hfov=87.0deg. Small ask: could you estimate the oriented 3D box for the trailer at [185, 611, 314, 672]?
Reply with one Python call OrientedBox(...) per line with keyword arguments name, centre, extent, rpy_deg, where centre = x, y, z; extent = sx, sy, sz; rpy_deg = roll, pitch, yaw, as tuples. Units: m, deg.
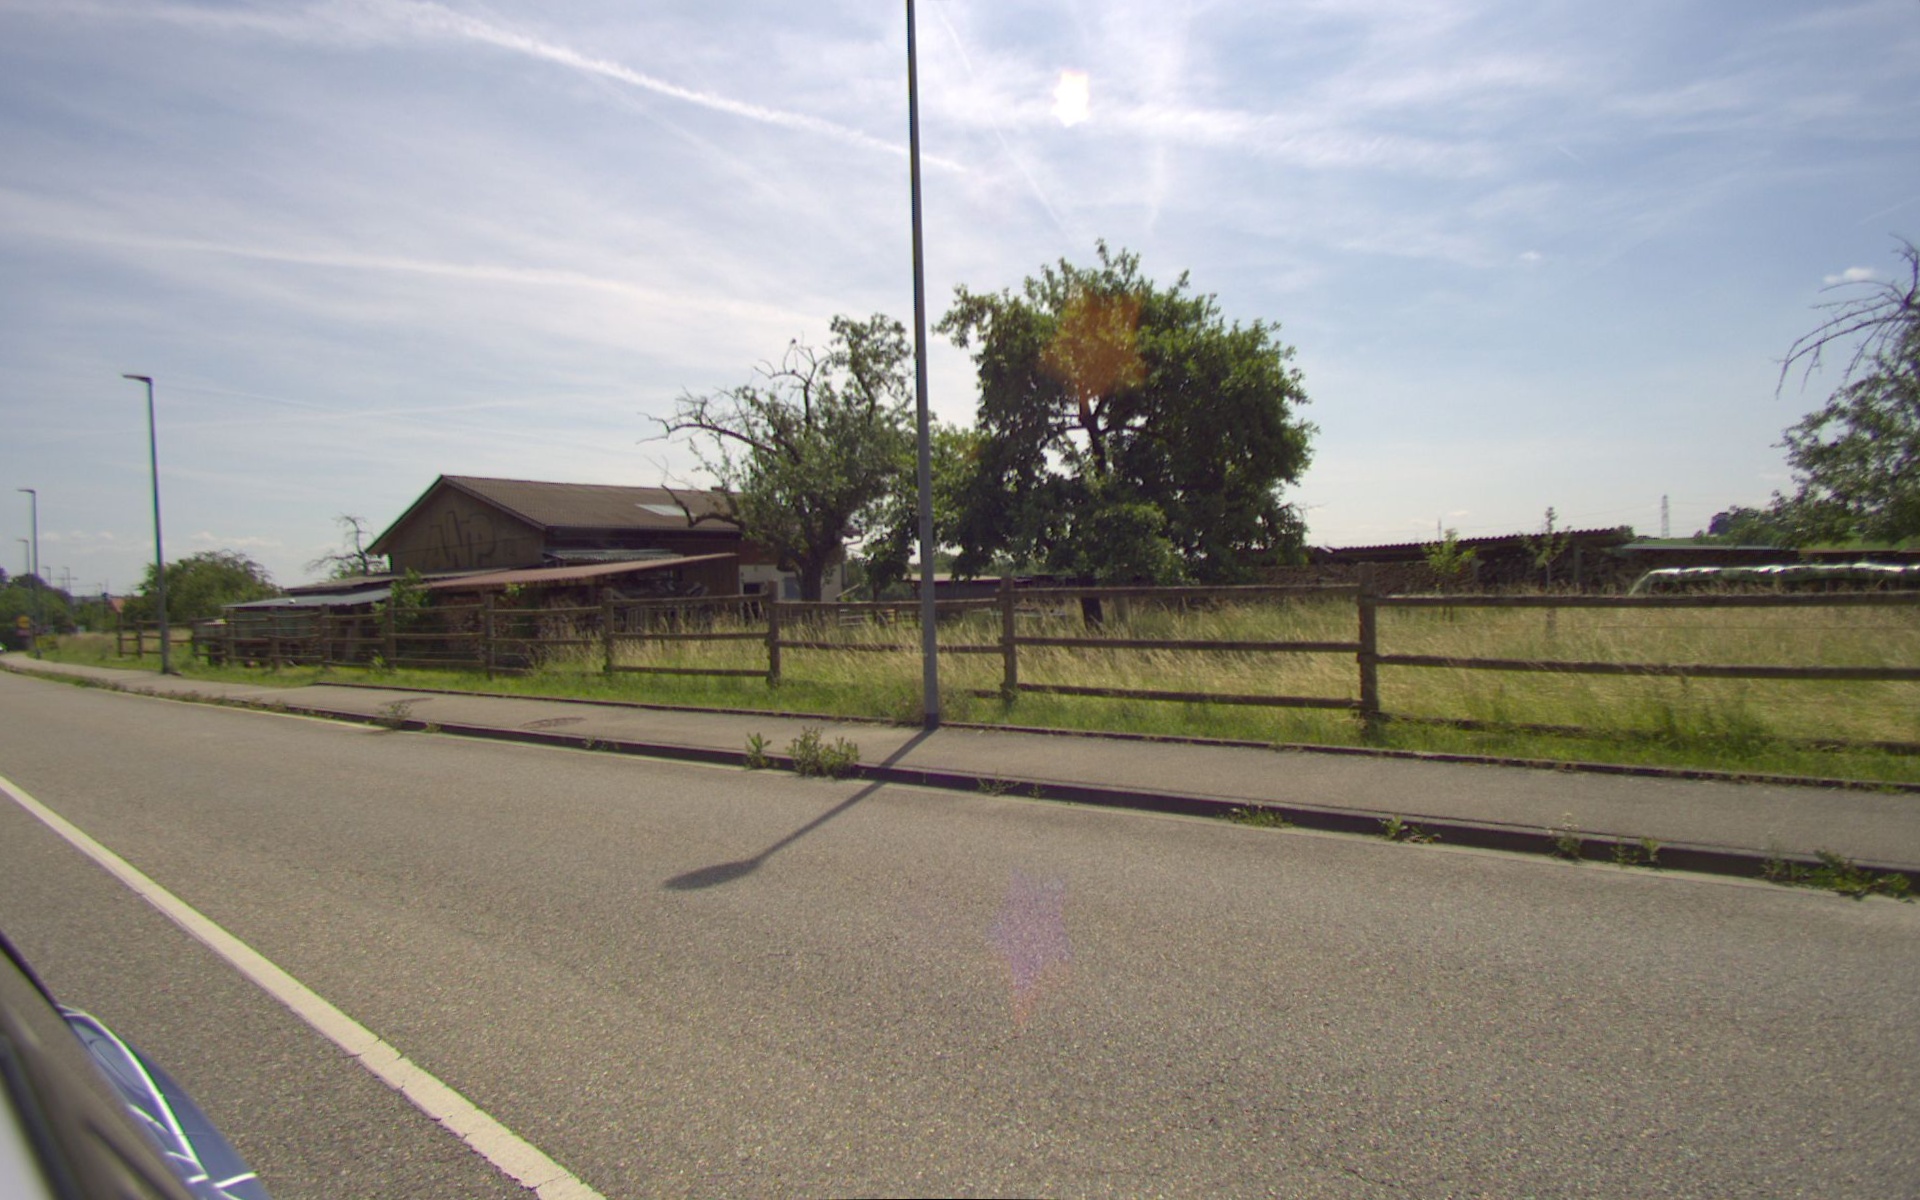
OrientedBox(name="trailer", centre=(-22.045, 1.254, 31.322), extent=(5.026, 1.716, 2.132), rpy_deg=(-2, -1, 41))
